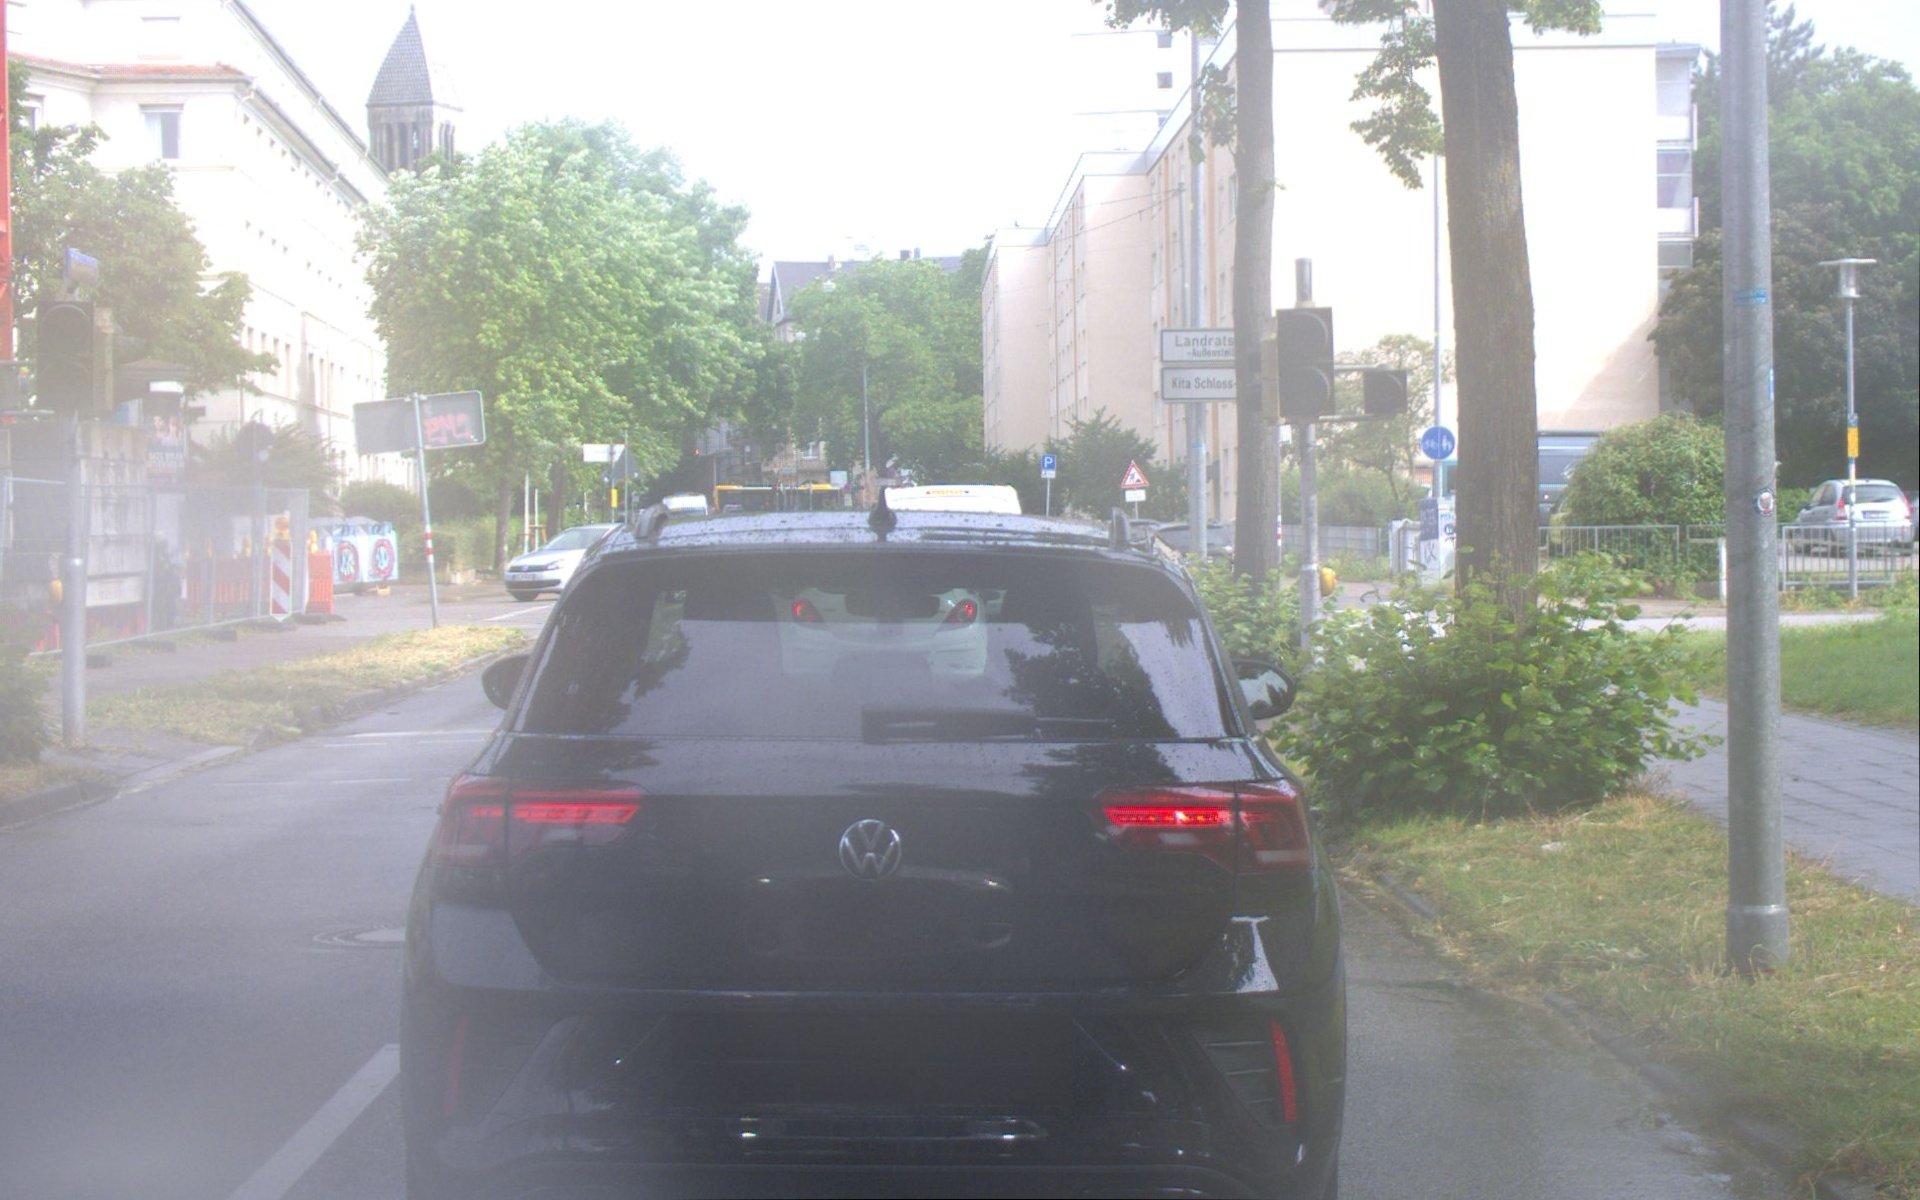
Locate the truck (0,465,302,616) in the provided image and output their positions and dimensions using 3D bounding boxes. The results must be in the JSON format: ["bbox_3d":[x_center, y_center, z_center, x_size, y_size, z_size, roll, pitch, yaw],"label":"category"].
[{"bbox_3d":[-16.422,-1.113,62.670,8.216,2.647,2.814,0,2,9],"label":"truck"}]

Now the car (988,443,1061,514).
[{"bbox_3d":[1.862,-3.533,100.740,1.993,2.007,4.000,-1,1,-1],"label":"car"}]

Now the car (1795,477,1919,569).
[{"bbox_3d":[17.869,-1.546,68.553,1.743,1.678,3.870,-4,1,6],"label":"car"}]

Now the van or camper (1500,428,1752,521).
[{"bbox_3d":[13.979,-2.641,72.345,4.874,1.919,2.131,0,2,0],"label":"van or camper"}]

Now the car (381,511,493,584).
[{"bbox_3d":[-11.941,-1.225,78.754,1.591,1.507,3.731,-4,2,5],"label":"car"}]

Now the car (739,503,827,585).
[{"bbox_3d":[-3.971,-1.266,76.688,1.789,1.678,4.487,-4,2,-4],"label":"car"}]

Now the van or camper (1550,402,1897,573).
[{"bbox_3d":[12.236,-1.804,55.319,5.032,2.587,2.168,-1,1,-1],"label":"van or camper"}]

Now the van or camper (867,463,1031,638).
[{"bbox_3d":[-0.090,-0.613,40.298,1.819,1.941,4.195,0,2,1],"label":"van or camper"}]

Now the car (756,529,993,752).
[{"bbox_3d":[-0.669,0.292,29.581,1.680,1.702,3.909,-3,1,3],"label":"car"}]

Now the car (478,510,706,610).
[{"bbox_3d":[-7.069,-0.762,66.044,3.922,1.645,1.760,-4,1,-22],"label":"car"}]

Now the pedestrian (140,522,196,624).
[{"bbox_3d":[-11.640,-0.402,50.496,0.660,1.480,0.673,-1,2,-25],"label":"pedestrian"}]

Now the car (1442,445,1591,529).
[{"bbox_3d":[13.335,-2.701,82.487,3.408,1.775,1.759,-3,1,9],"label":"car"}]

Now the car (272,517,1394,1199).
[{"bbox_3d":[-0.221,0.580,7.827,1.894,1.517,4.000,0,2,0],"label":"car"}]

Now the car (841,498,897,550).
[{"bbox_3d":[-2.836,-2.371,106.888,1.591,1.507,3.732,-4,2,-2],"label":"car"}]
